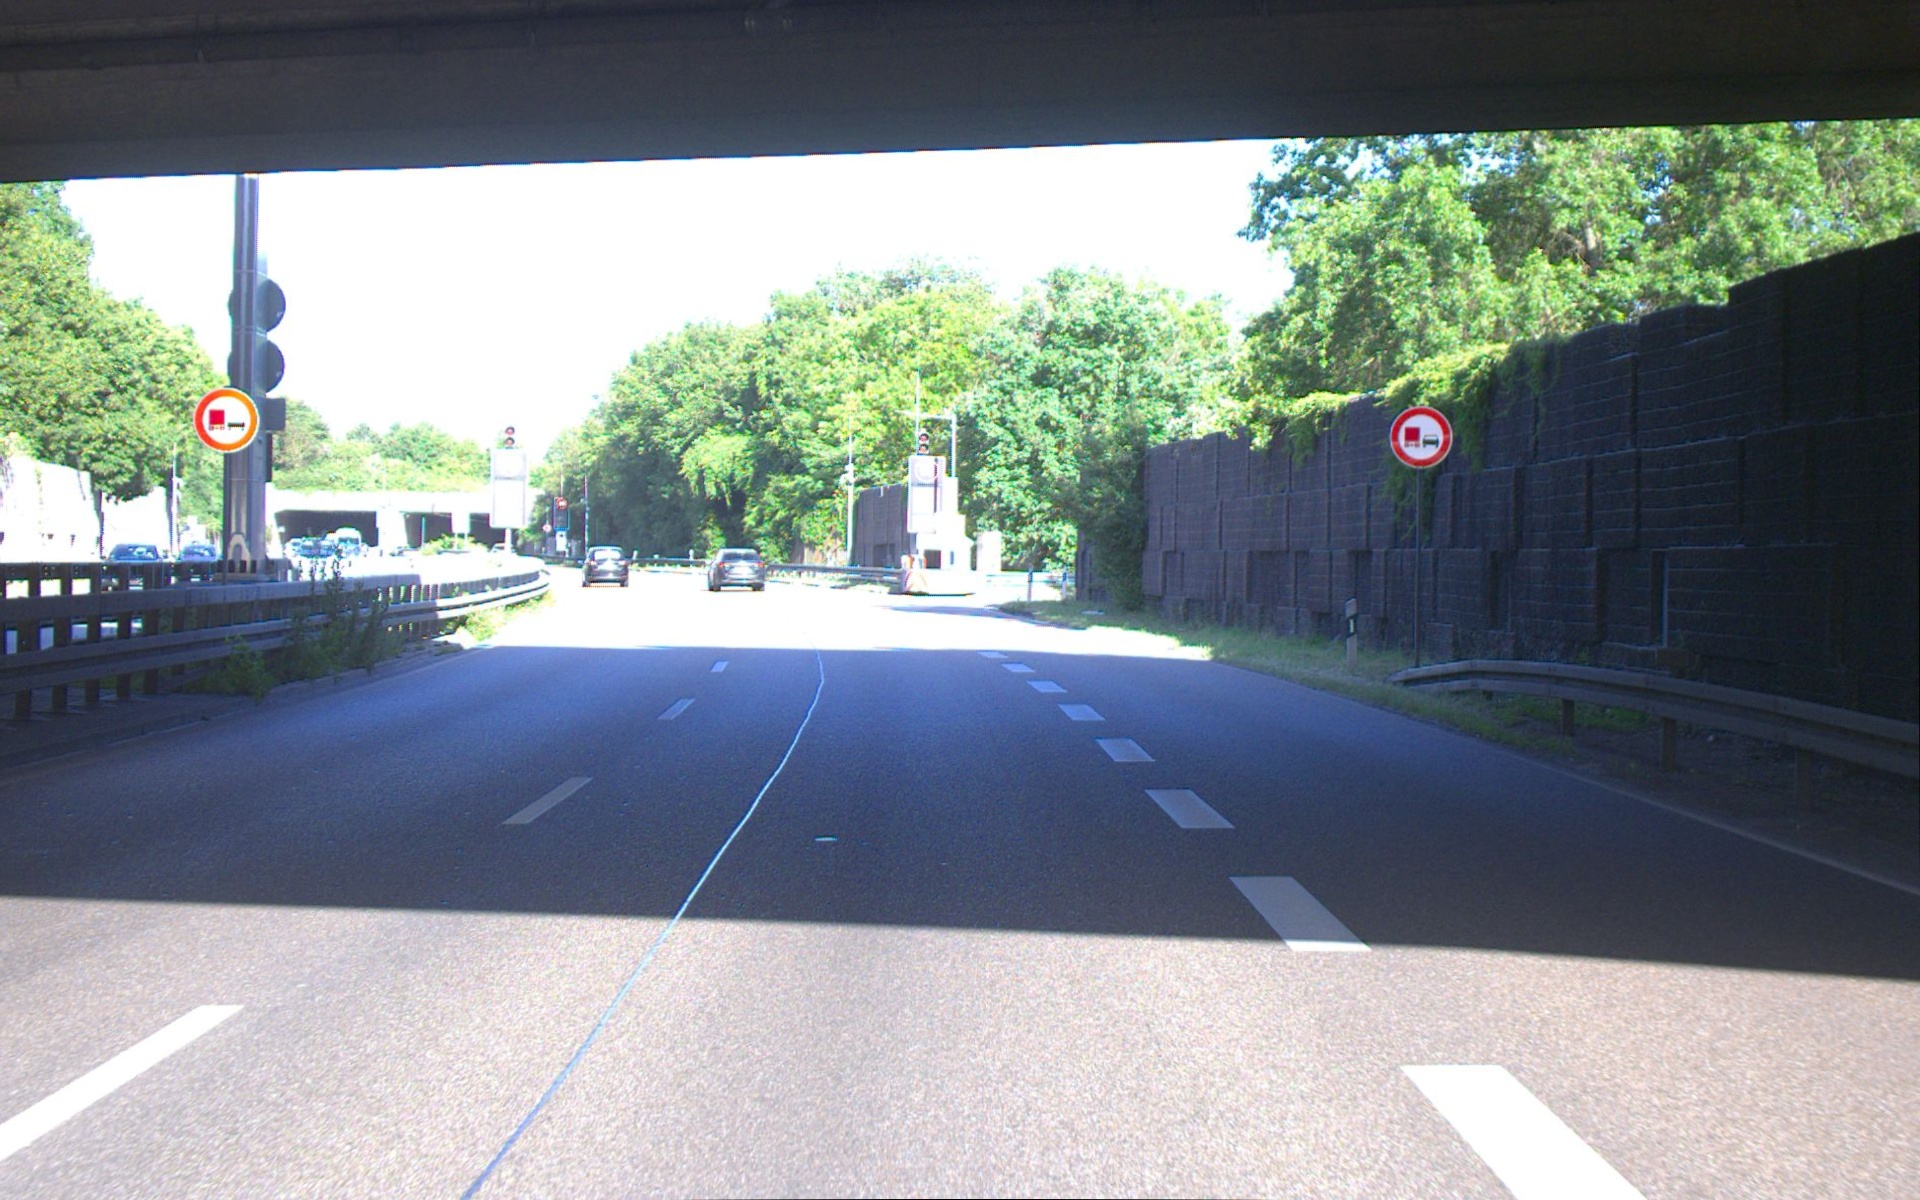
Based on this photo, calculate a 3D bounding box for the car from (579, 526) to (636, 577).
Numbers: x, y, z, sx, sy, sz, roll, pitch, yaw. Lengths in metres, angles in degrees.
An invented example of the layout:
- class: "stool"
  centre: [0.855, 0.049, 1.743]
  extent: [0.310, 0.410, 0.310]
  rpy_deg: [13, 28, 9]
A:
- class: "car"
  centre: [-13.861, -1.929, 135.517]
  extent: [1.993, 1.919, 4.001]
  rpy_deg: [2, 1, -3]

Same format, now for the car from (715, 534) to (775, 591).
- class: "car"
  centre: [-7.489, -1.333, 120.200]
  extent: [1.993, 1.919, 4.001]
  rpy_deg: [2, 1, -3]

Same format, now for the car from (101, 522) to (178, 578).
- class: "car"
  centre: [-24.751, -1.535, 103.813]
  extent: [1.545, 1.568, 4.397]
  rpy_deg: [3, 1, -5]

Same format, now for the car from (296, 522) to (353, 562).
- class: "car"
  centre: [-27.499, -2.526, 148.916]
  extent: [1.897, 1.568, 4.809]
  rpy_deg: [3, 1, -5]

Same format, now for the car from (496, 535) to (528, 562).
- class: "car"
  centre: [-33.438, -3.880, 256.319]
  extent: [1.993, 1.919, 4.001]
  rpy_deg: [1, 1, -12]

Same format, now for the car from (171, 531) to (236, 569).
- class: "car"
  centre: [-29.013, -1.922, 132.000]
  extent: [1.897, 1.417, 4.136]
  rpy_deg: [0, 1, -5]
